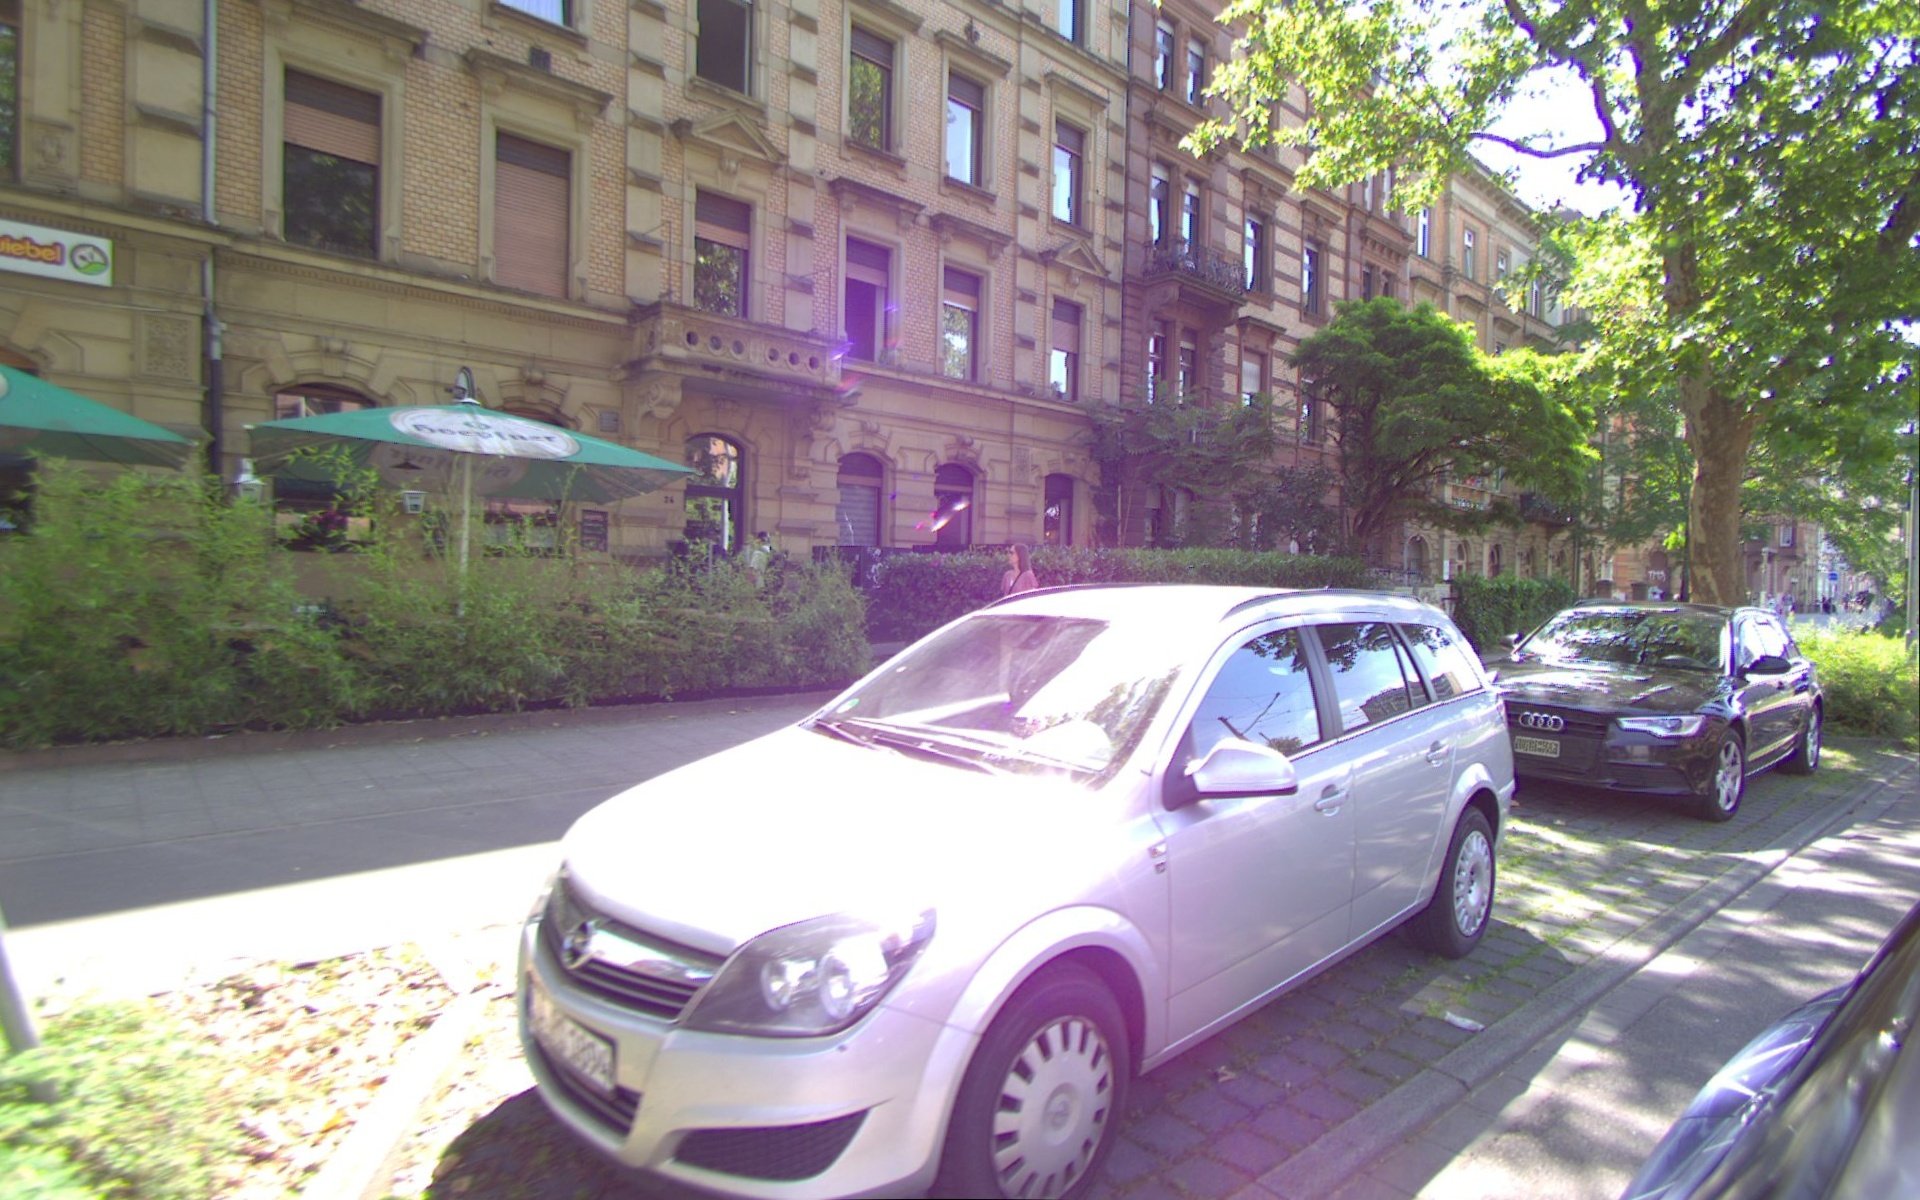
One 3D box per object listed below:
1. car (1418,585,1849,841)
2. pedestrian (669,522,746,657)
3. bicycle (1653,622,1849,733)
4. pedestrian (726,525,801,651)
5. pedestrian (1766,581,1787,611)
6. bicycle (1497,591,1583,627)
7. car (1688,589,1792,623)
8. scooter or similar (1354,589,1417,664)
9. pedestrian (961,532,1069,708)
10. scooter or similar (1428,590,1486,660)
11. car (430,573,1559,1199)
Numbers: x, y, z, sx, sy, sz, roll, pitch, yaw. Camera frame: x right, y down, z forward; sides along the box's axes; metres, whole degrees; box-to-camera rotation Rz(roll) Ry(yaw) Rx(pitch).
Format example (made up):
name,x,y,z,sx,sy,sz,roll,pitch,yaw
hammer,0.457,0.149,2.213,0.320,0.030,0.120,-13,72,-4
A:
name,x,y,z,sx,sy,sz,roll,pitch,yaw
car,5.759,0.679,8.397,4.562,1.526,1.837,0,2,-41
pedestrian,-3.659,-0.164,14.657,0.726,1.874,0.851,0,3,-42
bicycle,8.687,0.828,11.171,1.615,1.102,0.469,2,1,16
pedestrian,-2.935,-0.192,15.091,0.725,1.807,0.851,0,3,-41
pedestrian,47.291,-0.232,58.610,0.951,1.740,0.796,0,1,-42
bicycle,20.205,0.290,35.322,2.559,1.125,1.101,2,1,30
car,39.339,0.285,51.110,4.075,1.535,1.861,3,2,40
scooter or similar,7.540,0.449,17.930,1.125,1.263,0.583,0,1,-41
pedestrian,0.593,0.191,11.018,0.838,1.807,0.737,0,3,-42
scooter or similar,9.632,0.464,19.601,1.124,1.298,0.583,0,1,-40
car,0.641,0.709,3.896,1.834,1.526,4.419,3,2,45
